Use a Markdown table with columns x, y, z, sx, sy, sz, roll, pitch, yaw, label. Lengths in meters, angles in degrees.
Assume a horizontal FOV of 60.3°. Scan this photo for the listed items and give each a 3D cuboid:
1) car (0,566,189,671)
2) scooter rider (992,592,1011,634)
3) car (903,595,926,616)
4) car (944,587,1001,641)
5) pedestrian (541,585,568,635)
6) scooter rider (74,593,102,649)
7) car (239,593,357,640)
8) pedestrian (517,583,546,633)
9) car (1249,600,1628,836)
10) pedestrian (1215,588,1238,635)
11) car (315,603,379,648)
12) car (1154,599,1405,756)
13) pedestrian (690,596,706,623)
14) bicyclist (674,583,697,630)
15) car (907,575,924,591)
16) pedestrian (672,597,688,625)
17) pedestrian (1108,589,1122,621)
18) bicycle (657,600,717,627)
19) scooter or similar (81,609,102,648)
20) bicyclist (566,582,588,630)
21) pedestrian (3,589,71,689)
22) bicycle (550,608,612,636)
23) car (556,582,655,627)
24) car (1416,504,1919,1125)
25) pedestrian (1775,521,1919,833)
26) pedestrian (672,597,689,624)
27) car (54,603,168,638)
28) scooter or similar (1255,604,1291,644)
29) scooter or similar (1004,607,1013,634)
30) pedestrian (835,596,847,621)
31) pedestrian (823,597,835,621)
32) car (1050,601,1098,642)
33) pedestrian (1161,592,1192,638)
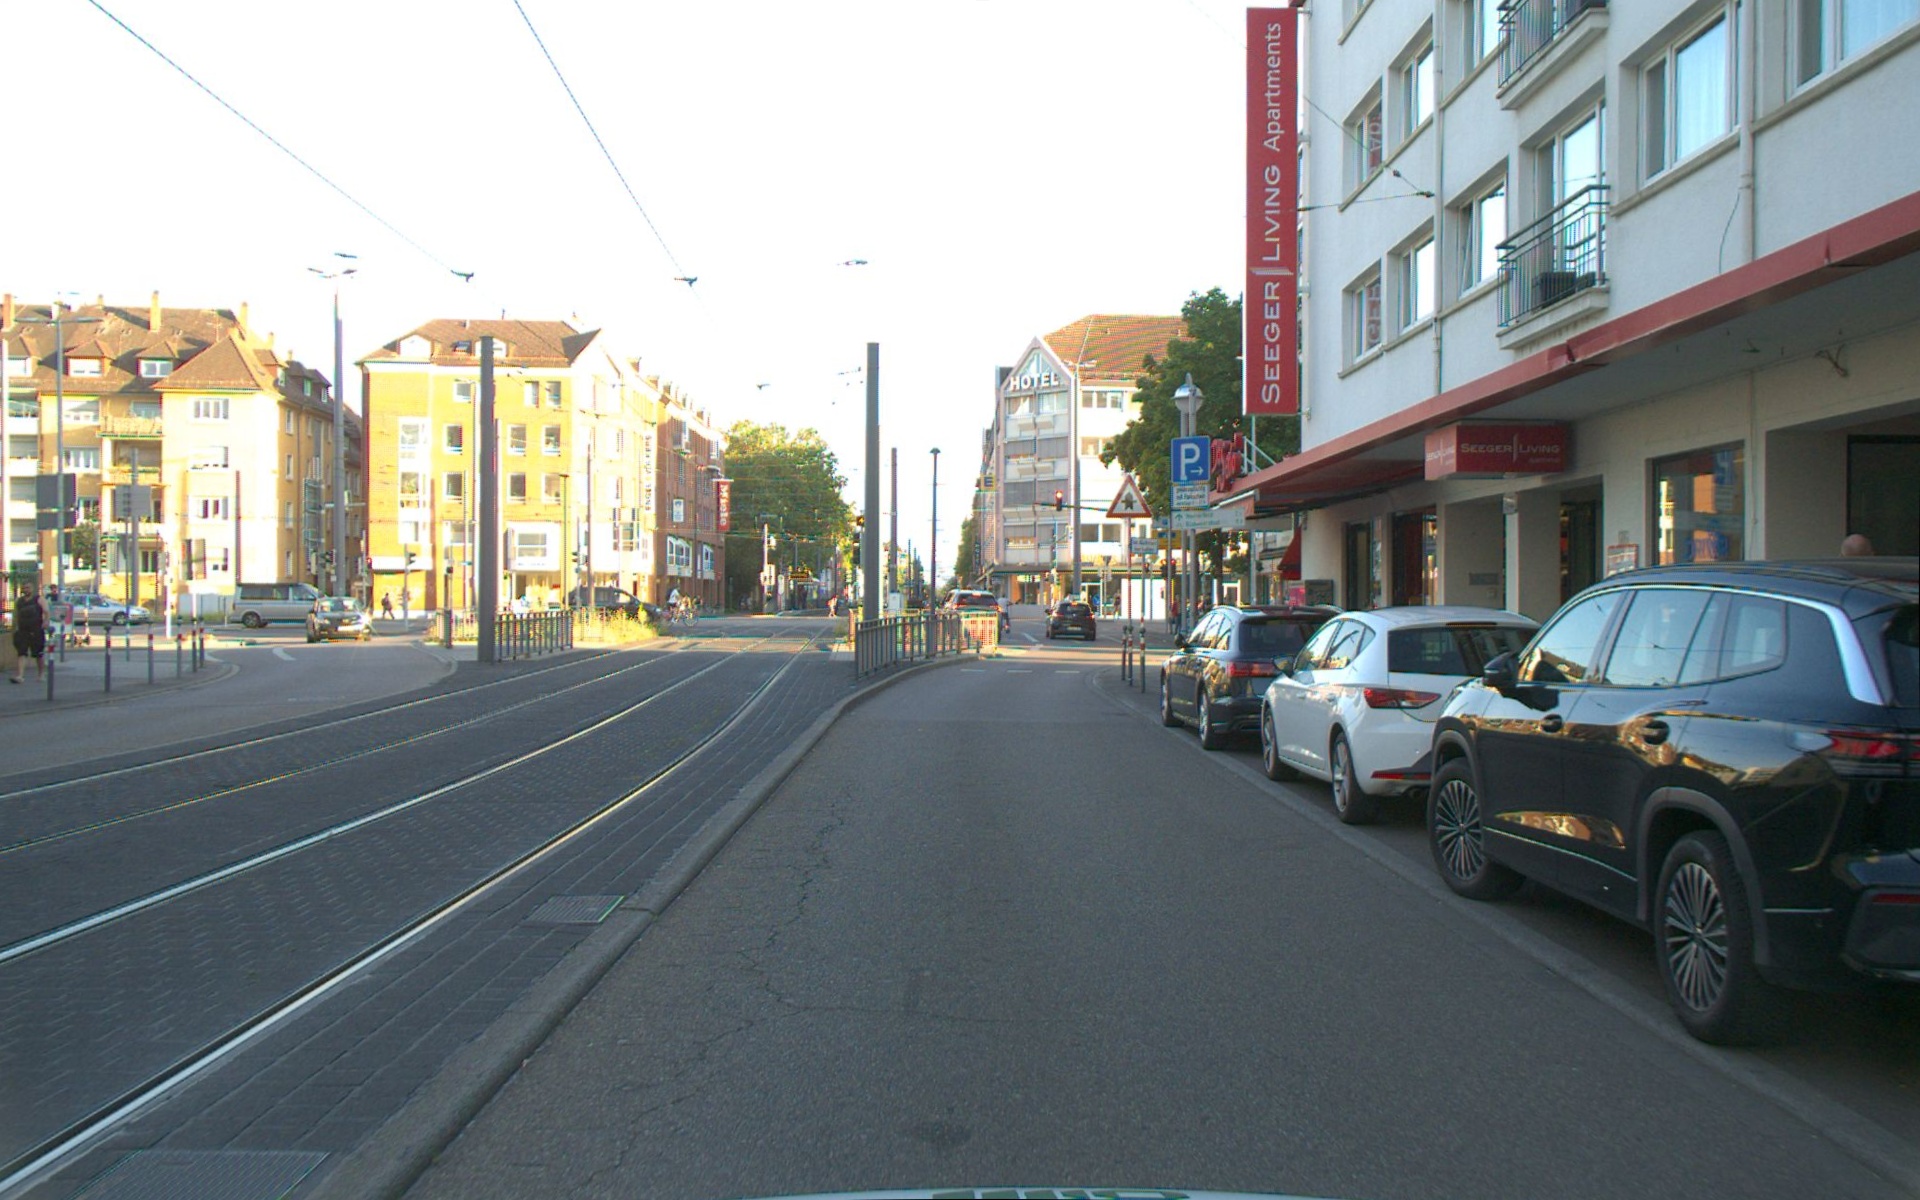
| x | y | z | sx | sy | sz | roll | pitch | yaw | label |
| --- | --- | --- | --- | --- | --- | --- | --- | --- | --- |
| -18.007 | 0.351 | 33.652 | 3.923 | 2.049 | 1.991 | 0 | 0 | -17 | car |
| 1.675 | 0.519 | 67.191 | 0.648 | 1.676 | 0.661 | 2 | -1 | 8 | scooter rider |
| -3.901 | 0.465 | 142.695 | 1.774 | 1.777 | 3.715 | 2 | 0 | 1 | car |
| 0.431 | 0.496 | 54.844 | 1.797 | 1.665 | 4.090 | -1 | -1 | 1 | car |
| -11.509 | 0.284 | 46.960 | 0.650 | 1.399 | 0.651 | 0 | 0 | -3 | pedestrian |
| -25.602 | 0.609 | 48.565 | 0.576 | 1.621 | 0.653 | 2 | -1 | -21 | scooter rider |
| -29.728 | 0.712 | 74.359 | 4.600 | 2.049 | 1.995 | 0 | 0 | -11 | car |
| -12.098 | 0.227 | 46.707 | 0.650 | 1.399 | 0.651 | 1 | 0 | -3 | pedestrian |
| 3.400 | 0.760 | 12.579 | 1.617 | 1.445 | 4.190 | 2 | 0 | 0 | car |
| 10.475 | 0.454 | 65.080 | 0.731 | 1.809 | 0.973 | 2 | -1 | 1 | pedestrian |
| -20.074 | 0.800 | 54.055 | 1.743 | 1.400 | 4.191 | 0 | 0 | -23 | car |
| 3.321 | 0.754 | 18.092 | 1.753 | 1.437 | 4.686 | 2 | 0 | -1 | car |
| -20.534 | 0.737 | 129.628 | 1.071 | 2.049 | 1.162 | 2 | -1 | -3 | pedestrian |
| -12.298 | 0.281 | 74.005 | 0.848 | 2.049 | 0.642 | 2 | -1 | -21 | bicyclist |
| -5.671 | -2.171 | 209.098 | 1.952 | 1.934 | 4.000 | 2 | 0 | 0 | car |
| -21.153 | 0.814 | 125.046 | 1.071 | 2.049 | 0.908 | 2 | -1 | -3 | pedestrian |
| 8.851 | 0.266 | 94.501 | 0.731 | 1.809 | 0.800 | 2 | -1 | 2 | pedestrian |
| -12.221 | 0.621 | 74.060 | 2.601 | 1.119 | 0.433 | 2 | -1 | -21 | bicycle |
| -25.294 | 0.821 | 48.185 | 0.420 | 1.081 | 1.611 | 2 | -1 | -25 | scooter or similar |
| -16.803 | 0.258 | 72.568 | 0.847 | 2.049 | 0.643 | 2 | -1 | -20 | bicyclist |
| -14.752 | 0.618 | 26.445 | 0.705 | 1.563 | 0.718 | 0 | 0 | -5 | pedestrian |
| -16.634 | 0.967 | 72.629 | 2.601 | 1.119 | 0.433 | 2 | -1 | -21 | bicycle |
| -16.629 | 0.196 | 77.595 | 4.481 | 2.072 | 1.994 | 0 | 0 | -13 | car |
| 3.451 | 0.637 | 6.851 | 1.818 | 1.730 | 4.417 | 2 | 0 | -1 | car |
| 5.876 | 0.471 | 10.649 | 0.759 | 1.913 | 0.934 | 0 | -1 | -2 | pedestrian |
| -21.384 | 0.807 | 126.489 | 1.071 | 2.049 | 0.908 | 2 | -1 | -3 | pedestrian |
| -39.468 | 0.944 | 76.977 | 4.257 | 1.578 | 1.996 | 1 | 0 | -8 | car |
| 10.000 | 0.771 | 52.874 | 0.292 | 1.239 | 1.201 | 2 | -3 | -44 | scooter or similar |
| 1.971 | 0.831 | 67.253 | 0.273 | 1.110 | 1.258 | 2 | -1 | 6 | scooter or similar |
| -8.786 | 0.623 | 122.092 | 0.789 | 1.855 | 0.703 | 2 | -1 | 0 | pedestrian |
| -9.613 | 0.668 | 121.358 | 0.789 | 1.693 | 0.703 | 2 | -1 | 1 | pedestrian |
| 4.302 | 0.783 | 62.197 | 1.727 | 1.465 | 4.002 | 0 | 0 | 4 | car |
| 8.326 | 0.569 | 63.565 | 0.810 | 1.714 | 1.044 | 2 | -1 | -15 | pedestrian |
